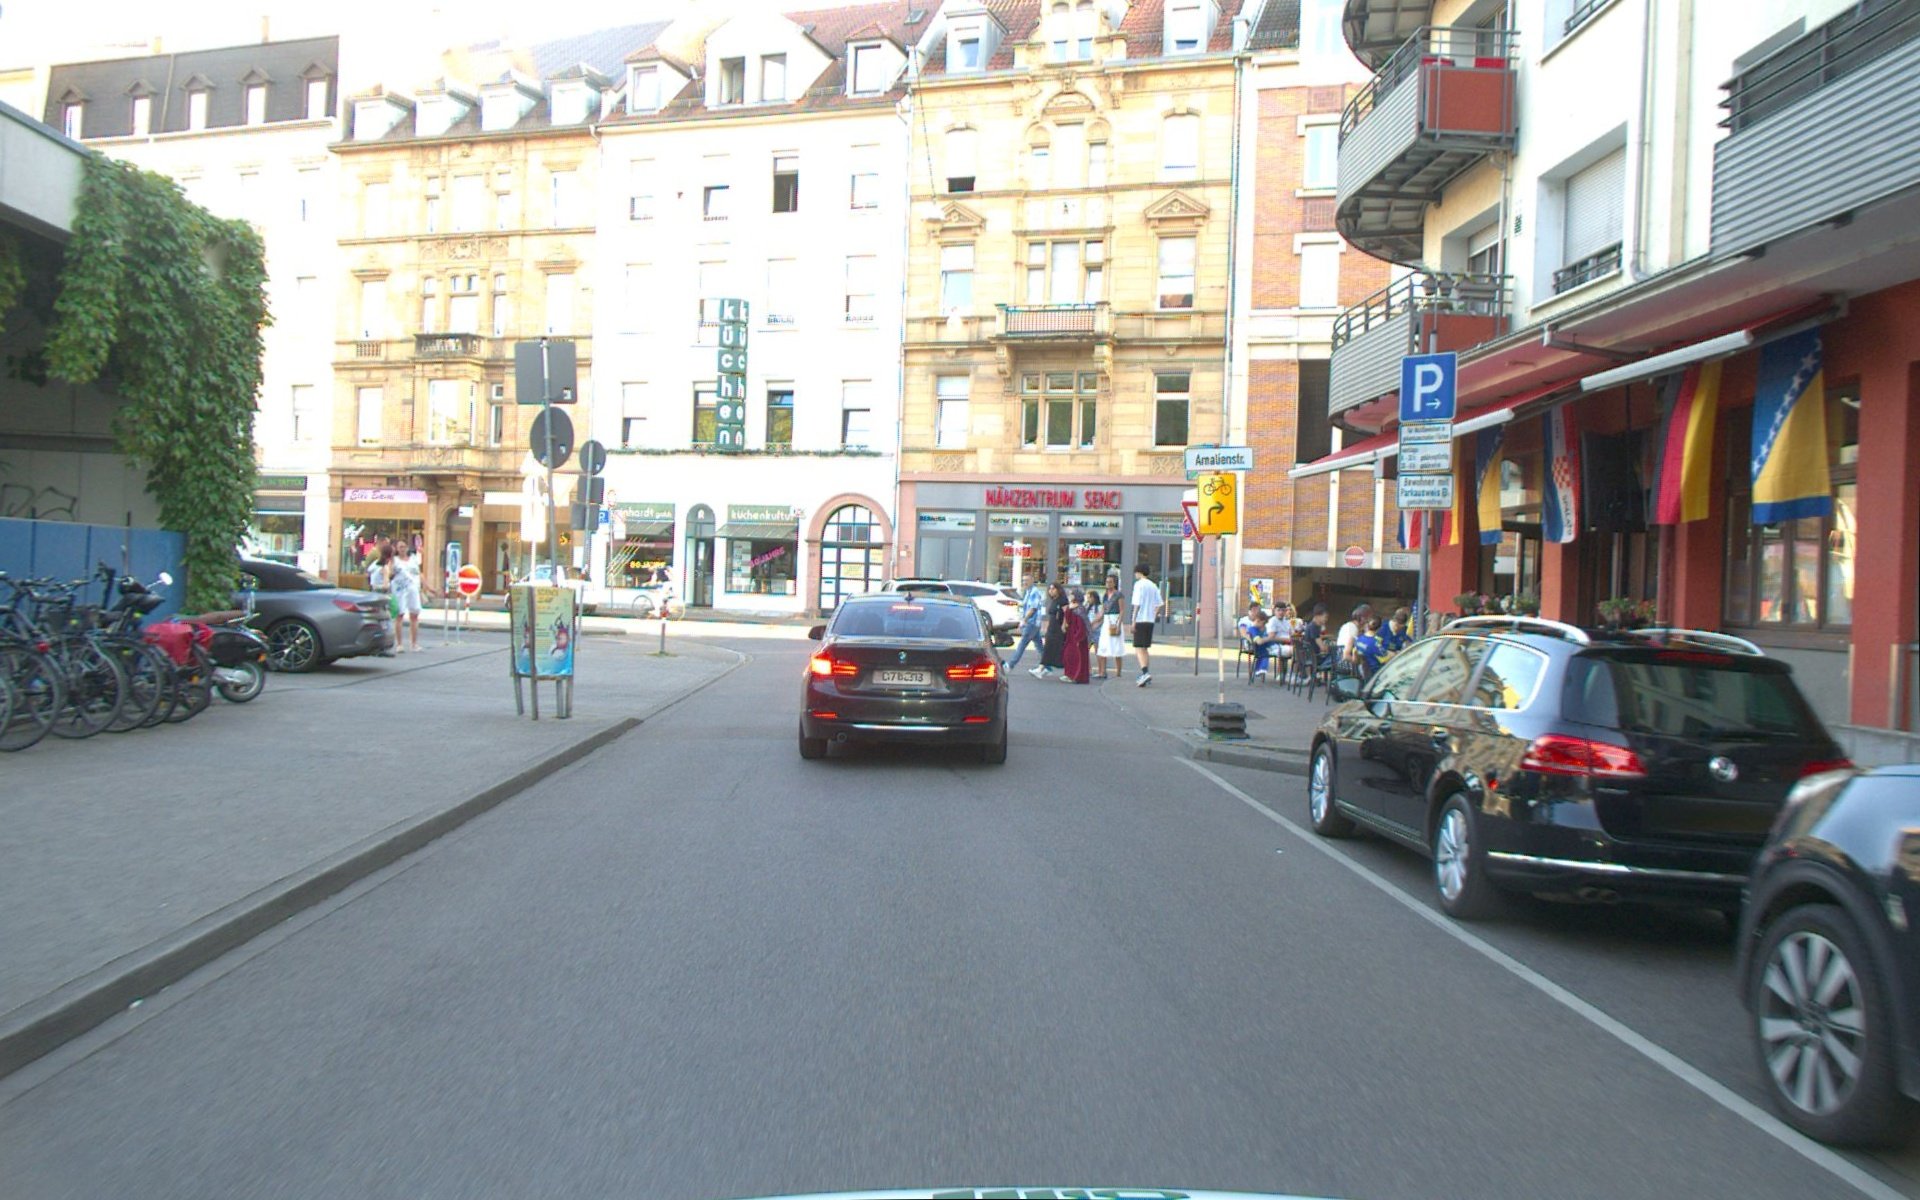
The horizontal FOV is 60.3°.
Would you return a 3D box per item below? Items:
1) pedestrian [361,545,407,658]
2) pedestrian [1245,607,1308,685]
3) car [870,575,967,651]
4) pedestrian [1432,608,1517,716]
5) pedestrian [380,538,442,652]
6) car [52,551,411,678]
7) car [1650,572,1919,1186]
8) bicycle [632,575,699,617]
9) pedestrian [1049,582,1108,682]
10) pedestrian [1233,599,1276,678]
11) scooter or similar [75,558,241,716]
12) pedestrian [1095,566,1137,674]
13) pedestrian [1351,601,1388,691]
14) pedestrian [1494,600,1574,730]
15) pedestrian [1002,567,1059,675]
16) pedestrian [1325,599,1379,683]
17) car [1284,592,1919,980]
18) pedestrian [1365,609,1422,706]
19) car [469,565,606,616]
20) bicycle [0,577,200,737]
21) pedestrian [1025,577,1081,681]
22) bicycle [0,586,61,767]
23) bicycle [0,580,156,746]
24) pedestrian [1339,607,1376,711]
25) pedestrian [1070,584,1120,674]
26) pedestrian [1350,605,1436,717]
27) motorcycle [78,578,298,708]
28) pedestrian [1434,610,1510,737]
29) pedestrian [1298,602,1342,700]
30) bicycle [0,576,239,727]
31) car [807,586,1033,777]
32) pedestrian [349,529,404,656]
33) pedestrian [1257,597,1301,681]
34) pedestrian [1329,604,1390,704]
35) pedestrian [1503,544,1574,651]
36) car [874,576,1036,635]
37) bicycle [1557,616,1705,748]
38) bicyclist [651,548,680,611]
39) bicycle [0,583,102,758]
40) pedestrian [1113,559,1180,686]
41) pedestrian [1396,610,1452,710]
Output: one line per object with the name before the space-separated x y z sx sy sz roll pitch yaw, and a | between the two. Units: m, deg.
pedestrian | -8.647 0.022 24.836 0.490 1.671 0.520 1 1 0
pedestrian | 4.887 0.704 25.584 0.871 1.170 0.619 1 1 5
car | -0.826 0.232 35.302 1.838 1.498 4.001 1 1 2
pedestrian | 6.193 0.737 19.927 0.763 1.244 0.714 -1 0 -2
pedestrian | -8.685 -0.088 26.183 0.661 1.776 0.654 2 1 38
car | -9.387 0.176 21.617 3.915 1.527 1.887 1 1 -10
car | 3.550 0.834 3.754 1.730 1.670 4.789 4 1 -2
bicycle | -8.444 -0.126 47.408 1.756 1.127 0.538 2 0 12
pedestrian | 1.894 0.497 26.416 0.722 1.539 0.648 3 0 -11
pedestrian | 4.933 0.634 27.729 0.604 1.276 0.736 1 1 4
scooter or similar | -6.950 0.322 14.377 1.186 1.296 0.420 3 0 -18
pedestrian | 2.612 0.321 27.705 0.653 1.776 0.607 1 1 4
pedestrian | 6.083 0.673 24.563 0.479 1.299 0.522 1 1 11
pedestrian | 6.211 0.695 17.917 0.594 1.371 0.696 0 0 -3
pedestrian | 1.193 0.344 27.891 0.876 1.755 0.608 3 2 4
pedestrian | 6.235 0.635 26.287 0.606 1.301 0.698 2 1 35
car | 3.329 0.808 9.639 1.730 1.528 4.789 4 1 -2
pedestrian | 5.609 0.734 21.416 0.415 1.222 0.560 -2 1 -44
car | -13.543 -0.312 53.076 3.905 1.537 1.800 1 0 20
bicycle | -6.879 0.424 12.723 1.759 1.127 0.499 3 0 -5
pedestrian | 1.514 0.462 27.016 0.711 1.636 0.648 3 0 -11
bicycle | -6.859 0.444 10.675 1.759 1.127 0.500 3 0 -3
bicycle | -6.891 0.433 12.018 1.760 1.127 0.499 3 0 -7
pedestrian | 4.980 0.735 20.715 0.337 1.279 0.359 -1 0 32
pedestrian | 2.294 0.493 28.234 0.798 1.500 0.607 1 1 2
pedestrian | 5.071 0.706 19.390 0.841 1.279 0.491 -1 0 -2
motorcycle | -7.107 0.406 15.268 1.732 1.120 0.560 3 0 -37
pedestrian | 5.423 0.763 17.536 0.672 1.309 0.609 0 0 7
pedestrian | 4.993 0.704 22.938 0.481 1.326 0.418 -1 0 -2
bicycle | -6.959 0.413 13.616 1.758 1.127 0.500 3 0 -3
car | -0.382 0.623 15.457 1.729 1.398 4.789 2 1 -2
pedestrian | -8.976 -0.118 25.449 0.571 1.915 0.634 1 1 4
pedestrian | 5.094 0.620 26.442 0.604 1.306 0.660 1 1 6
pedestrian | 5.372 0.719 22.232 0.622 1.298 0.504 -2 1 -40
pedestrian | 9.045 -0.042 25.865 0.705 1.635 0.682 3 0 -29
car | -0.145 0.149 47.730 4.262 1.589 1.869 1 0 20
bicycle | 6.300 0.753 15.628 0.525 1.174 1.741 0 -1 -6
bicyclist | -8.434 -0.582 47.411 0.604 1.787 0.526 2 0 12
bicycle | -6.884 0.438 11.269 1.758 1.127 0.500 3 0 0
pedestrian | 2.879 0.345 25.517 0.689 1.910 0.674 2 0 44
pedestrian | 5.817 0.748 20.737 0.415 1.222 0.528 -2 1 -45
